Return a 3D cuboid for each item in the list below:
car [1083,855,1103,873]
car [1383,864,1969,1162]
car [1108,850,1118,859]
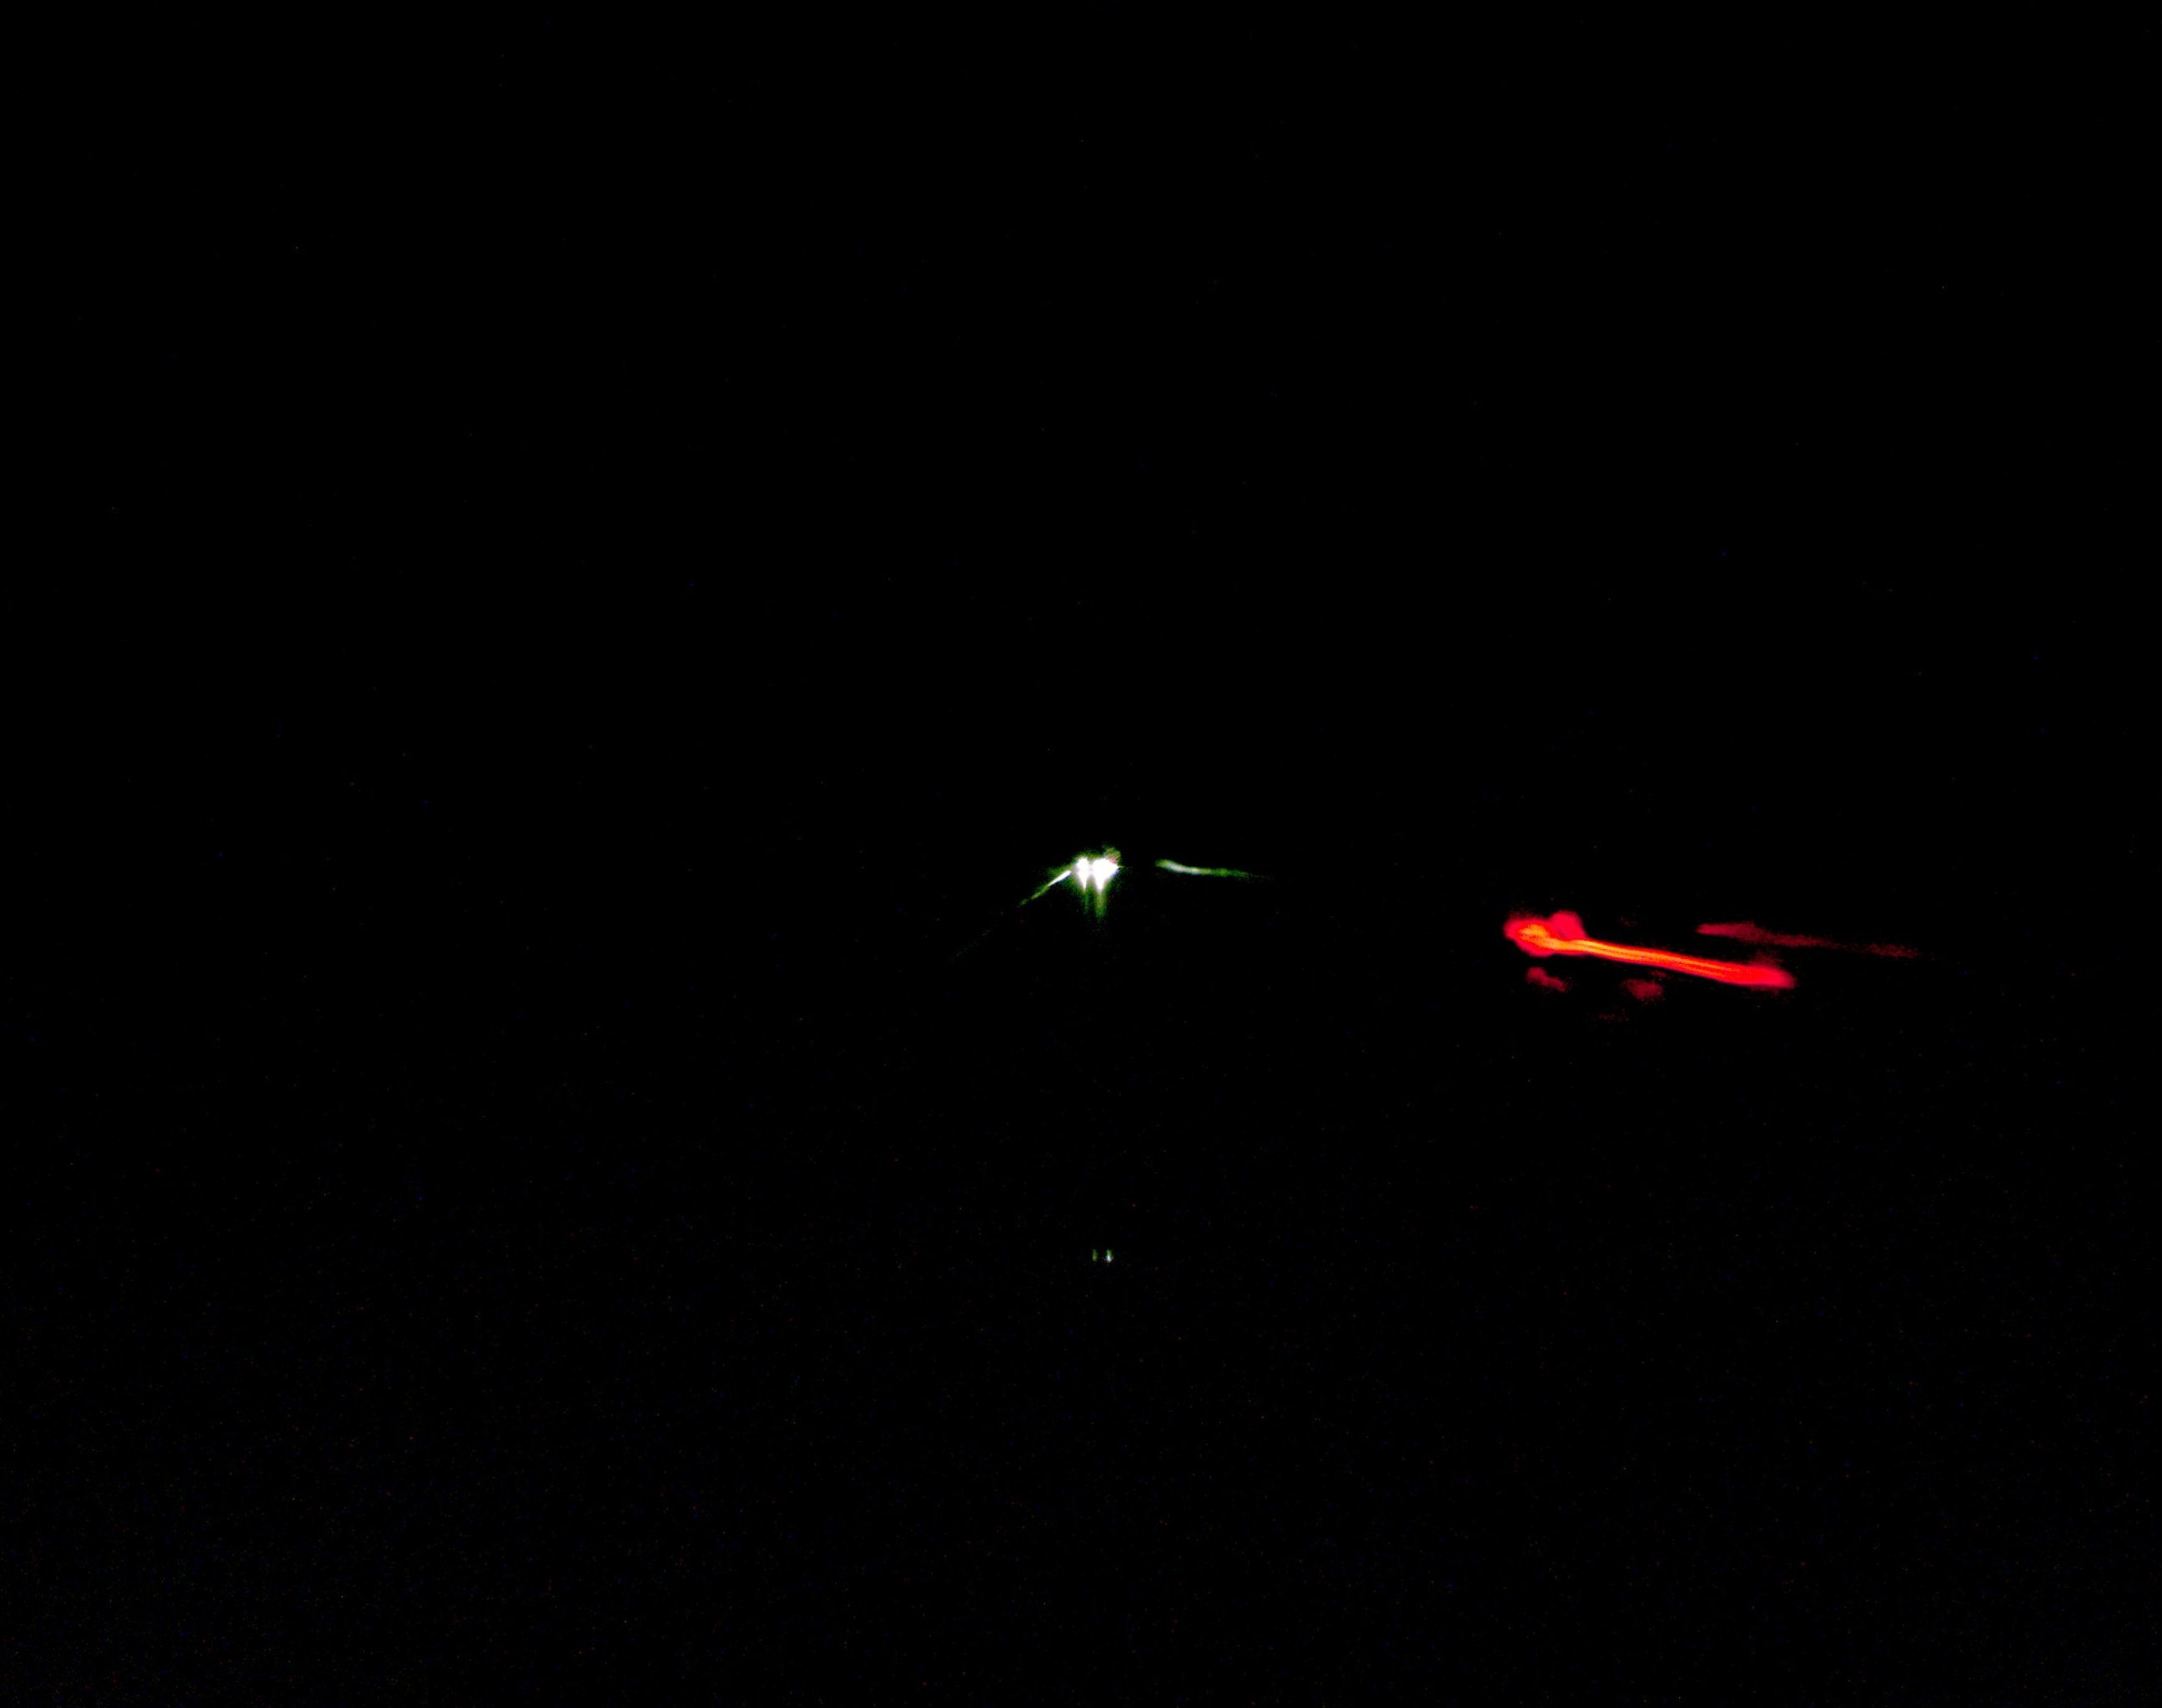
[{"bbox_3d":[1.321,1.040,81.567,1.998,1.724,4.000,-3,1,1],"label":"car"},{"bbox_3d":[3.771,0.844,5.693,1.585,1.377,3.585,-3,1,1],"label":"car"},{"bbox_3d":[6.312,0.139,151.433,1.819,1.724,4.000,-3,1,1],"label":"car"}]
